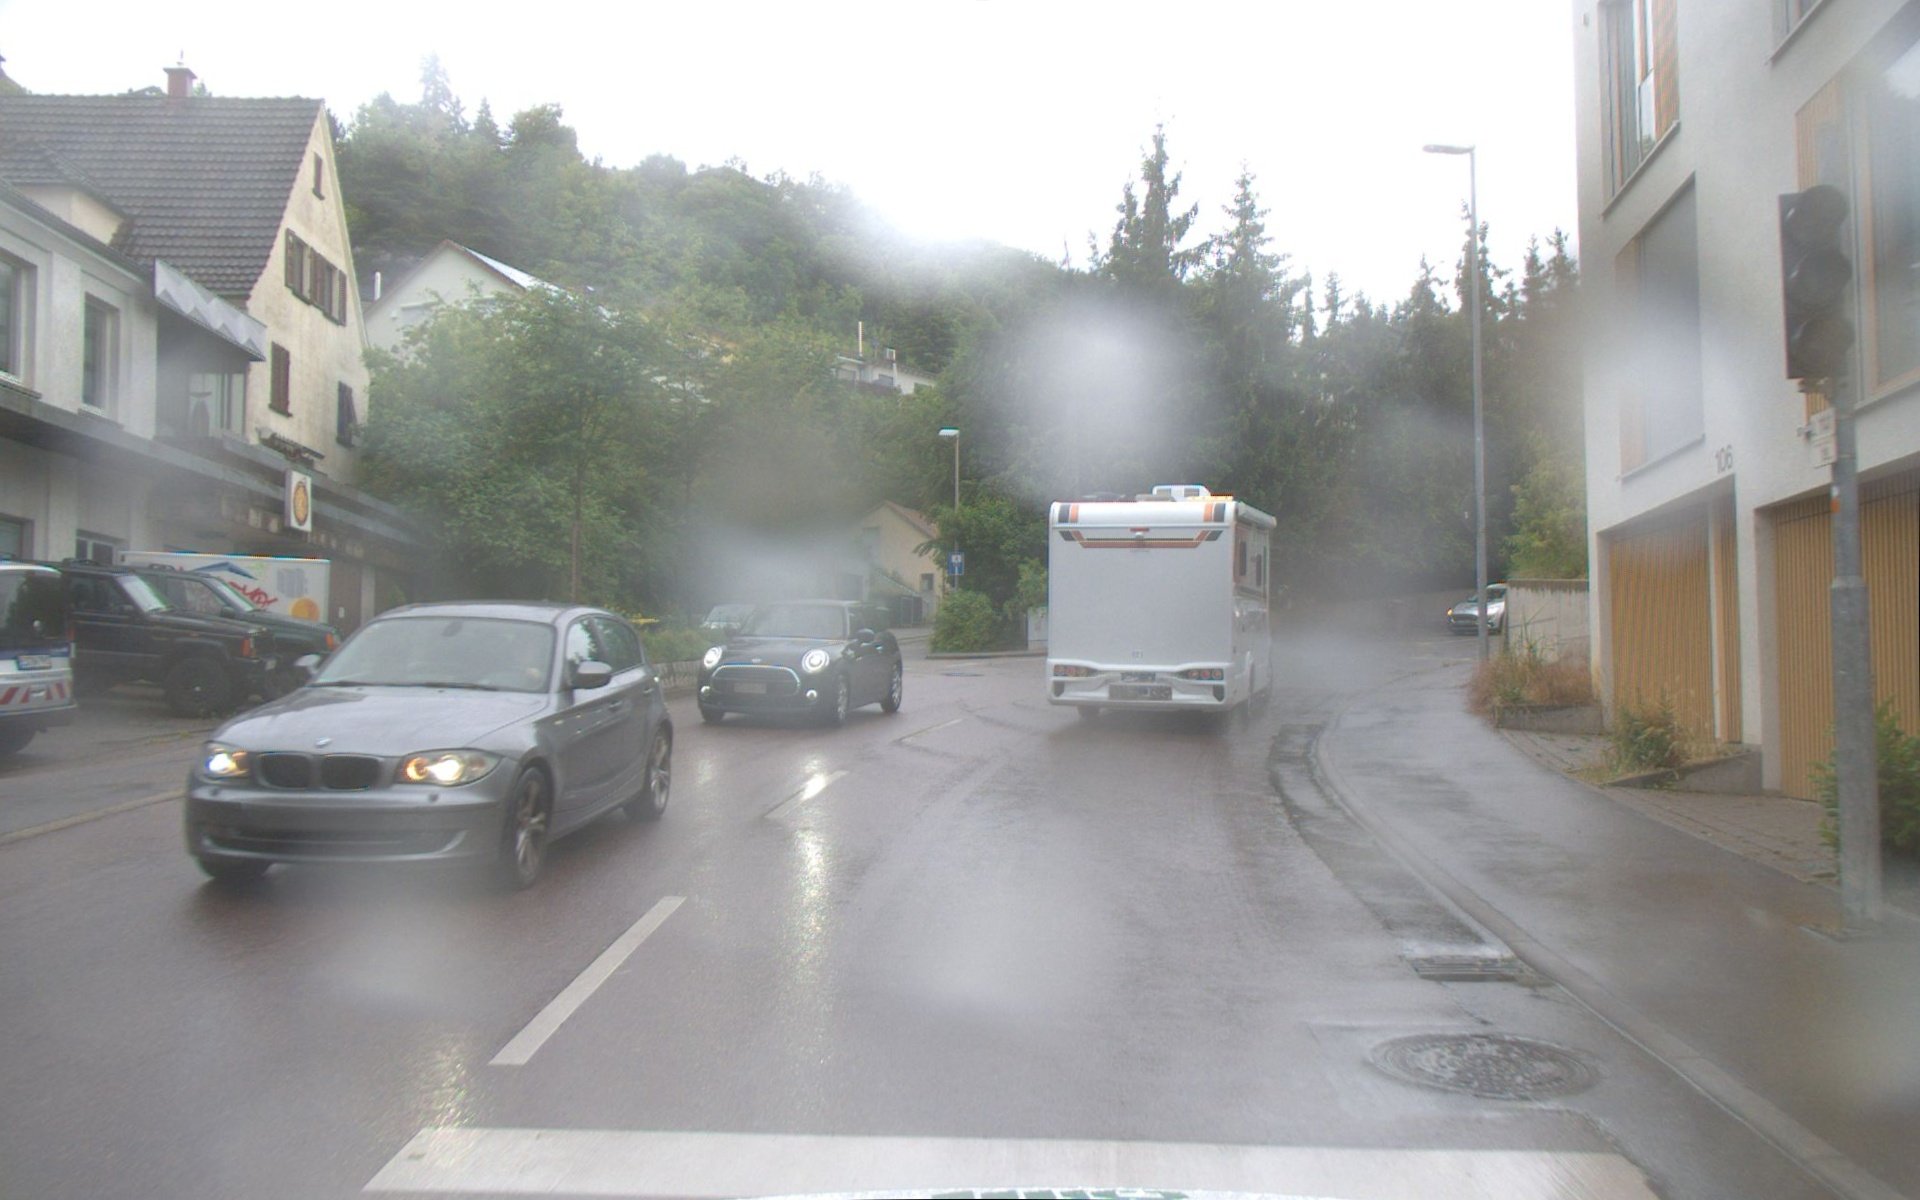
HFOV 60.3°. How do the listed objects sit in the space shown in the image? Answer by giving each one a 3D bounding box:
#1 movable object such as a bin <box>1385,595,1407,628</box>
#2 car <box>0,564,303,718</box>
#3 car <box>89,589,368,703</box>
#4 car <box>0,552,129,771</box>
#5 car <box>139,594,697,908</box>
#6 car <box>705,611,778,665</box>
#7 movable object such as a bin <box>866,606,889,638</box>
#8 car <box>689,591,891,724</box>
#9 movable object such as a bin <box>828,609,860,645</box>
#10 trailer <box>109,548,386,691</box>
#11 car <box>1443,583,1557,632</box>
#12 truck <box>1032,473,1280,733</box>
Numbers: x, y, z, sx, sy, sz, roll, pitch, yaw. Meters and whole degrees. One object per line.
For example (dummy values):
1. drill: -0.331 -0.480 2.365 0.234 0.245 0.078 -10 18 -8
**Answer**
1. movable object such as a bin: 13.500 0.345 51.198 0.486 0.996 0.494 -2 1 -41
2. car: -10.580 0.497 20.772 4.005 1.805 1.794 1 0 -12
3. car: -10.195 0.632 23.299 3.277 1.511 1.833 1 0 -14
4. car: -10.002 0.488 14.854 4.022 1.831 2.000 1 0 -1
5. car: -2.871 0.708 9.742 1.781 1.447 3.901 1 0 4
6. car: -5.875 0.997 44.816 1.512 1.354 3.746 1 0 -1
7. movable object such as a bin: -3.187 0.851 63.948 0.690 1.244 0.591 1 0 19
8. car: -1.948 0.633 19.960 1.641 1.430 3.680 1 0 7
9. movable object such as a bin: -4.038 0.934 57.438 0.834 1.219 0.933 1 0 16
10. trailer: -11.280 0.282 26.307 3.898 2.139 1.938 -1 -1 -25
11. car: 16.326 0.214 49.917 1.574 1.438 4.206 1 0 45
12. truck: 2.758 0.025 21.588 2.462 2.867 6.206 1 0 14
